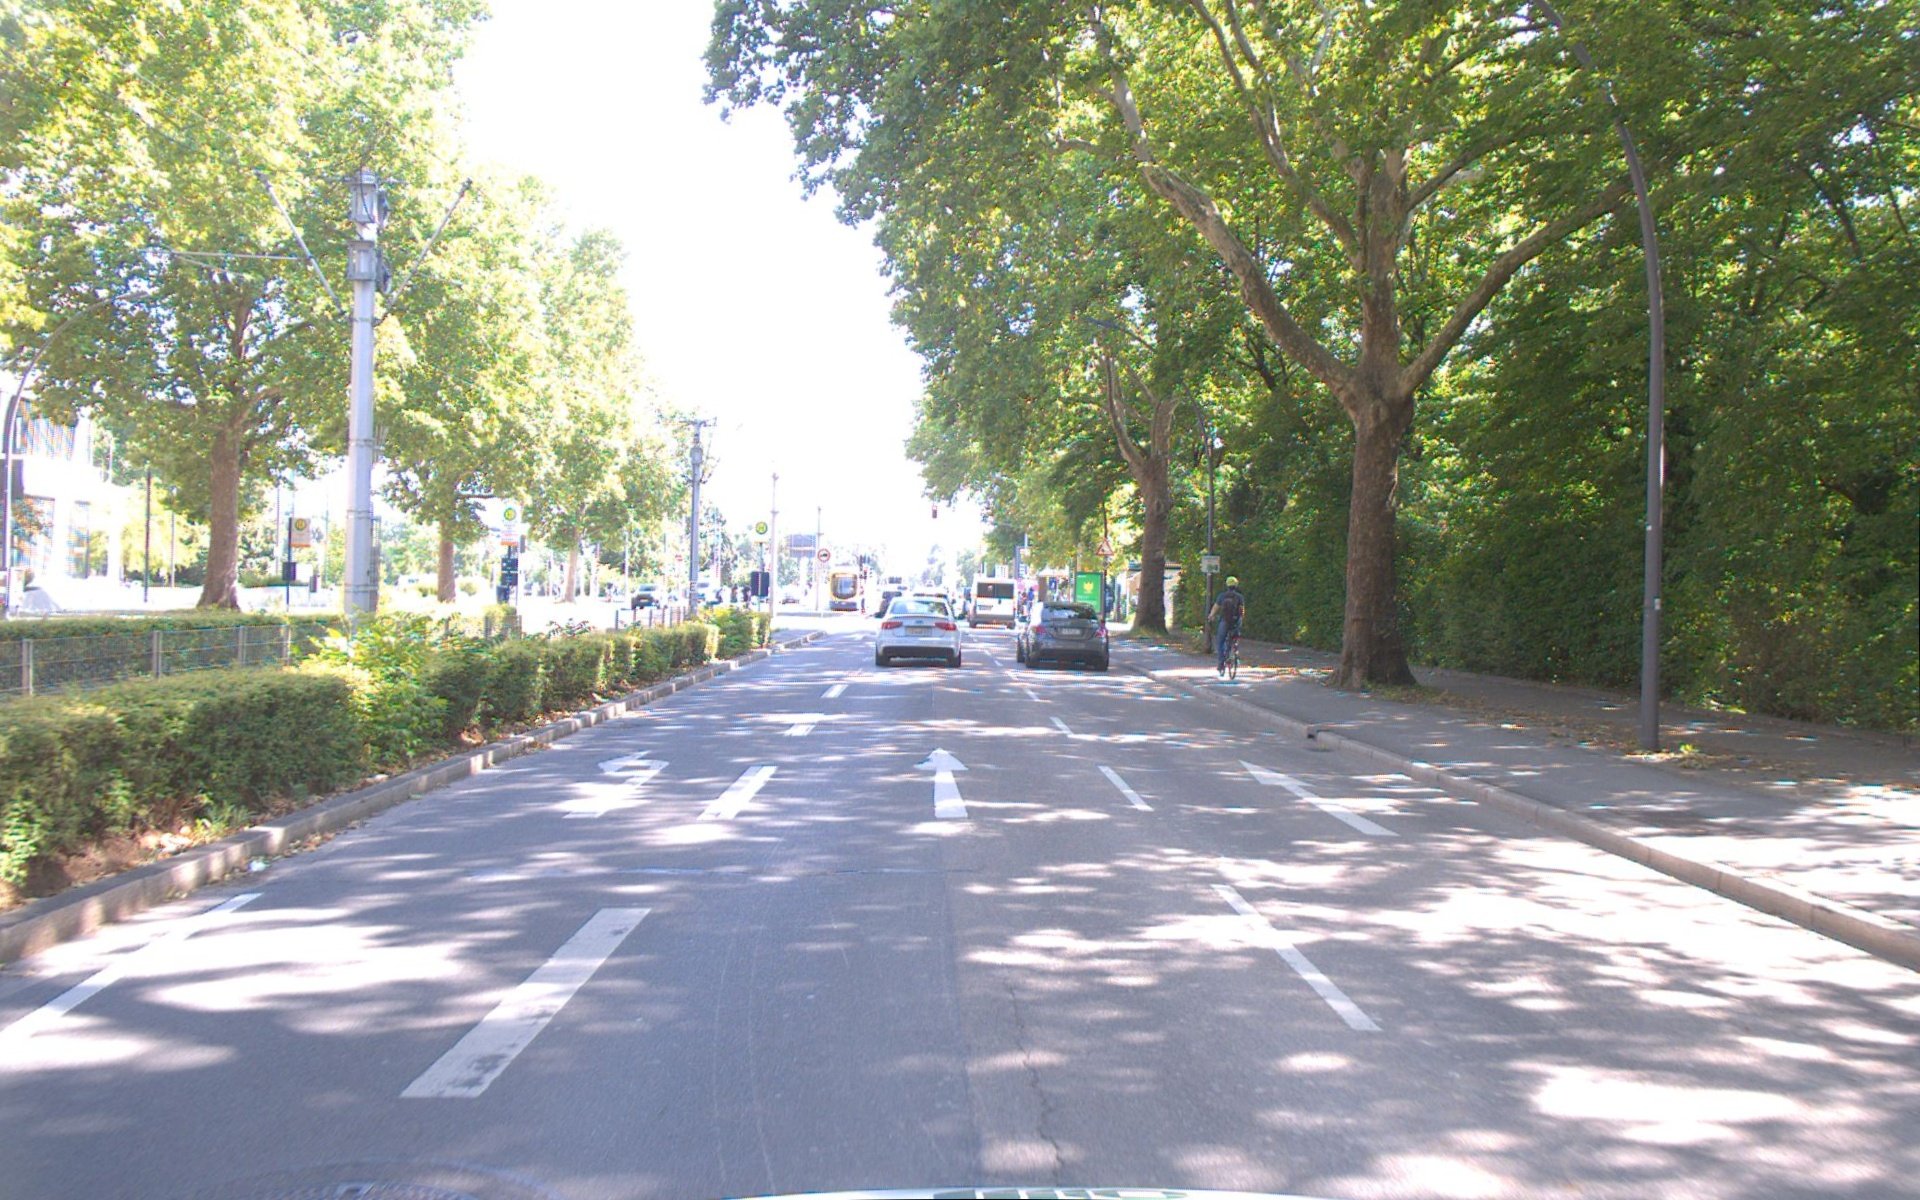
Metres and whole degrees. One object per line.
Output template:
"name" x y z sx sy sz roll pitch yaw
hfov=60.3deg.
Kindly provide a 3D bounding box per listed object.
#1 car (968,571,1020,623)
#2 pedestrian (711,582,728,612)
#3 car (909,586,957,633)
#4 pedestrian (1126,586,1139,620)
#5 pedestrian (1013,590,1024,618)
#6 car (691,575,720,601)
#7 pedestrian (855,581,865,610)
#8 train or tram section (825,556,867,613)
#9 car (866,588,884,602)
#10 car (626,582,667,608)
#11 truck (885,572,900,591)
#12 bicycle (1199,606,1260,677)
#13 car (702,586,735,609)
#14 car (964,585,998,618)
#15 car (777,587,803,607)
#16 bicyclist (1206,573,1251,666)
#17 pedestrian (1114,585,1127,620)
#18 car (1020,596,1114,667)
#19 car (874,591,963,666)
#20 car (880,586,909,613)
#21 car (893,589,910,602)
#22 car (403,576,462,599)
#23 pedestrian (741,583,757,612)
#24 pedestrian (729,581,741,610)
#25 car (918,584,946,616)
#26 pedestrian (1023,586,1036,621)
"car" 1.538 -0.137 75.665 2.184 2.250 4.161 2 0 -1
"pedestrian" -13.479 -0.168 92.579 0.748 1.651 0.590 2 0 -26
"car" -0.985 0.325 60.803 1.694 1.633 3.884 2 0 -1
"pedestrian" 9.721 0.160 93.074 0.601 1.929 0.597 1 0 -4
"pedestrian" 3.659 0.251 103.630 0.590 1.724 0.953 -1 0 -1
"car" -24.139 -1.148 157.086 2.071 2.424 4.000 1 0 0
"pedestrian" -6.855 -0.327 113.317 0.611 1.951 0.689 2 0 -1
"train or tram section" -8.583 -1.114 124.851 2.563 4.085 7.748 2 0 0
"car" -10.781 -0.642 209.967 1.832 1.637 4.001 2 0 1
"car" -20.994 -0.341 110.903 1.793 1.652 4.895 2 0 -1
"truck" -10.775 -2.916 263.157 1.953 2.839 8.517 2 0 0
"bicycle" 4.990 0.754 30.754 0.700 1.168 2.178 -1 2 -2
"car" -17.277 -0.171 118.504 1.774 1.590 4.303 2 0 -1
"car" 1.357 0.094 107.473 2.030 2.034 4.057 2 0 -1
"car" -15.650 -0.247 152.724 1.953 1.764 4.000 2 0 0
"bicyclist" 4.973 0.352 30.696 0.621 1.676 0.979 -1 2 -2
"pedestrian" 9.056 0.148 93.109 0.601 1.929 0.694 1 0 -4
"car" 2.311 0.656 36.724 1.746 1.445 3.999 2 0 -1
"car" -0.848 0.559 35.003 1.748 1.445 3.884 2 0 -1
"car" -4.207 -0.037 106.145 1.694 1.659 3.999 2 0 -1
"car" -7.447 -0.536 209.995 1.832 1.637 4.001 2 0 1
"car" -39.296 -0.936 123.212 3.769 1.576 1.769 2 0 -1
"pedestrian" -13.149 -0.174 103.121 0.758 1.764 0.755 2 0 8
"pedestrian" -13.110 -0.280 96.517 0.580 1.675 0.554 2 0 -1
"car" -1.773 -0.010 106.543 1.694 1.935 3.999 2 0 -1
"pedestrian" 3.955 0.209 94.338 0.622 1.980 0.719 2 0 -1
